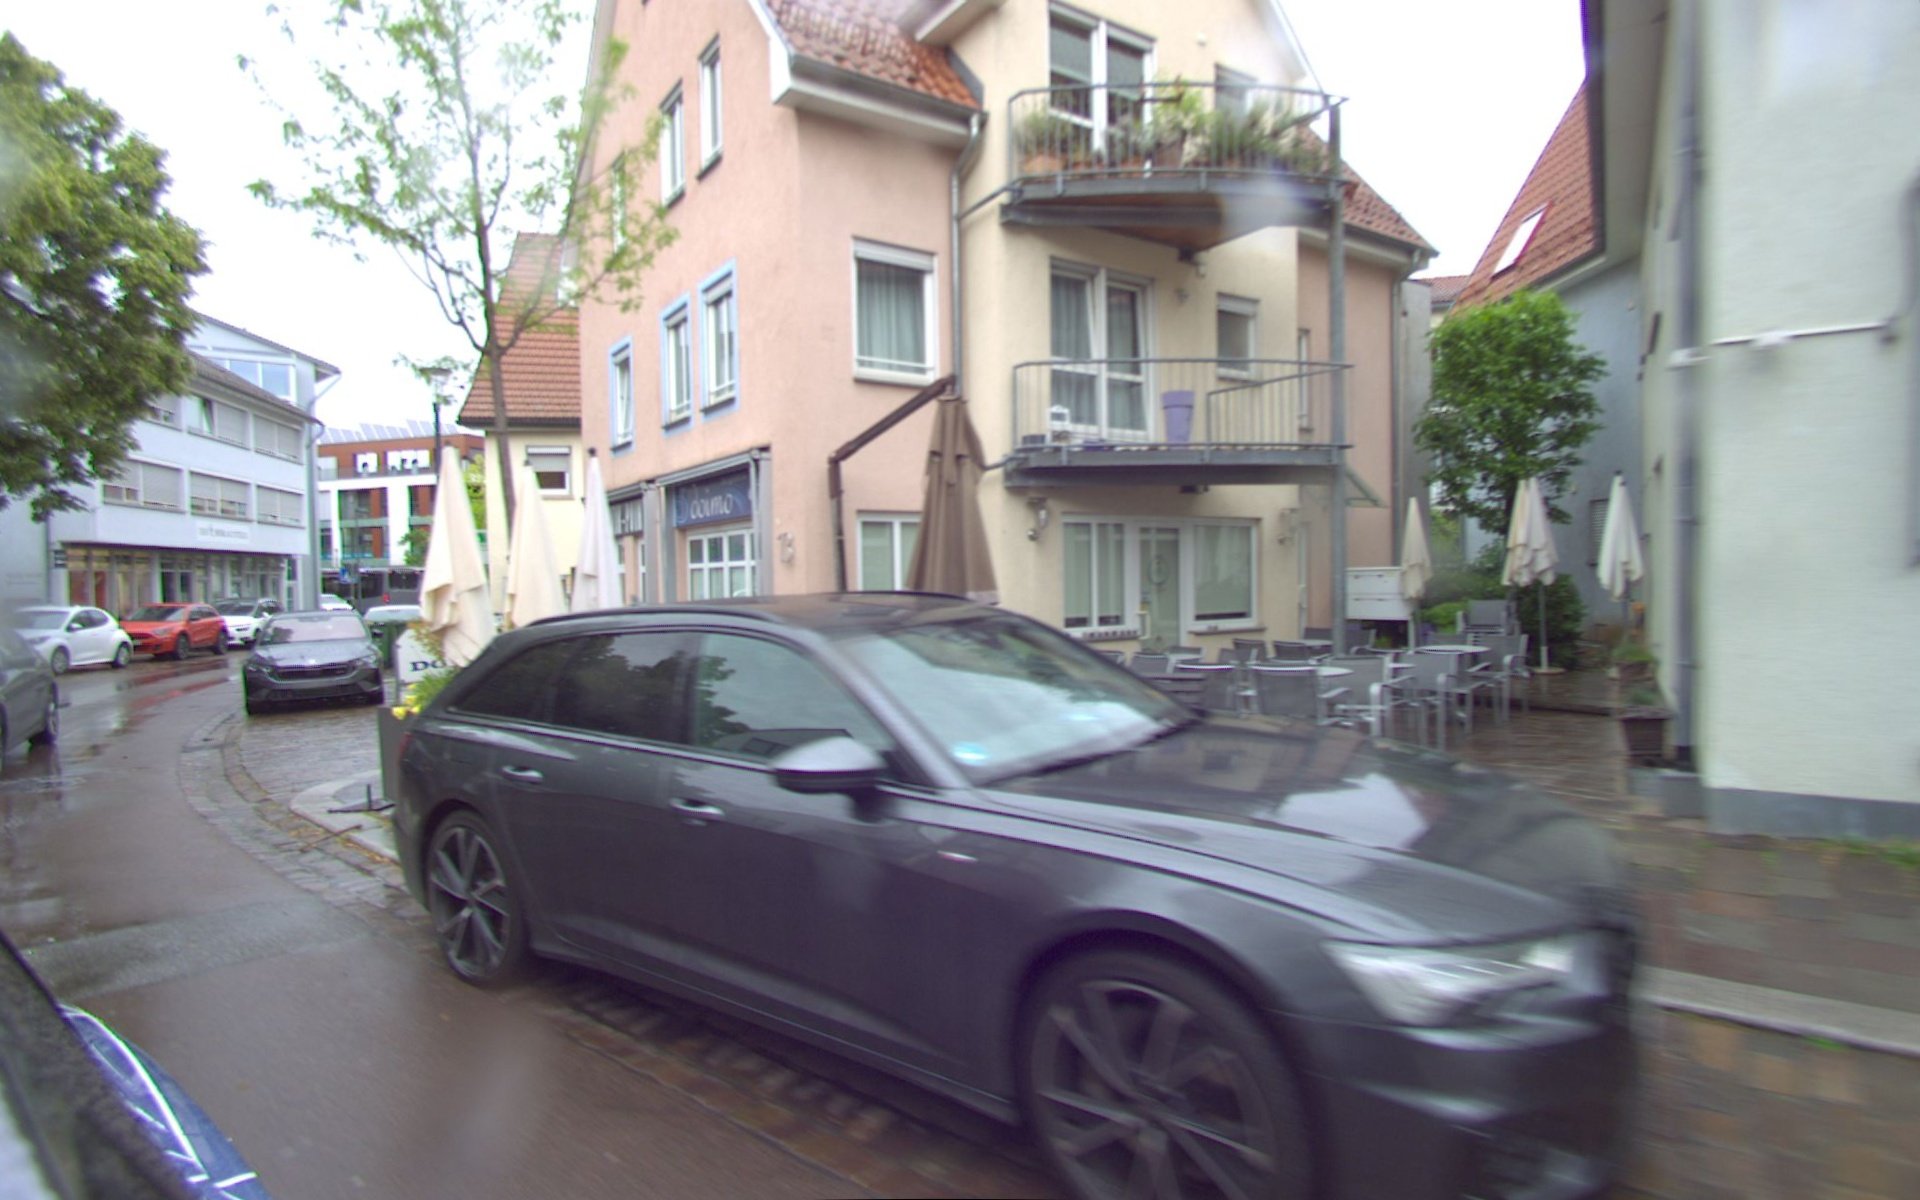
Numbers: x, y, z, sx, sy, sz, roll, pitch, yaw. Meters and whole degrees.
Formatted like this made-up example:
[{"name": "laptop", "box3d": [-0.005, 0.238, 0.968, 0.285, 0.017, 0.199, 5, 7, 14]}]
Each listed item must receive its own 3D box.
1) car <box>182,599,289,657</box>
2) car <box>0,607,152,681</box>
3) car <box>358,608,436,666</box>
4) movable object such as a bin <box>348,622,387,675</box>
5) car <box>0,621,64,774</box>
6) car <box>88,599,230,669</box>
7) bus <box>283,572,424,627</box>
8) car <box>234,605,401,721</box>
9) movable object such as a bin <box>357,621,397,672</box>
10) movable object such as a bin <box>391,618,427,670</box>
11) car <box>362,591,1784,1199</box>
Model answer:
[{"name": "car", "box3d": [-23.718, 0.857, 33.312, 1.666, 1.702, 4.292, -1, 1, -18]}, {"name": "car", "box3d": [-20.693, 0.954, 23.334, 1.667, 1.551, 4.416, -1, 0, -16]}, {"name": "car", "box3d": [-15.612, 0.971, 28.213, 1.666, 1.433, 3.829, -1, 0, -26]}, {"name": "movable object such as a bin", "box3d": [-13.186, 1.066, 22.539, 0.650, 1.117, 0.626, -1, 1, -22]}, {"name": "car", "box3d": [-10.274, 0.962, 9.597, 1.967, 1.417, 4.906, -2, 0, -34]}, {"name": "car", "box3d": [-21.999, 0.878, 27.993, 1.667, 1.702, 3.969, -1, 1, -16]}, {"name": "bus", "box3d": [-39.328, -0.082, 65.489, 10.642, 3.325, 2.655, 0, 1, 28]}, {"name": "car", "box3d": [-10.127, 0.862, 16.139, 1.966, 1.465, 4.387, -1, 1, -31]}, {"name": "movable object such as a bin", "box3d": [-13.380, 1.050, 23.240, 0.682, 1.095, 0.548, -3, 2, -22]}, {"name": "movable object such as a bin", "box3d": [-12.460, 0.980, 22.900, 0.650, 1.117, 0.626, -1, 1, -22]}, {"name": "car", "box3d": [-0.121, 0.708, 3.609, 4.618, 1.443, 1.785, 0, 1, 36]}]
